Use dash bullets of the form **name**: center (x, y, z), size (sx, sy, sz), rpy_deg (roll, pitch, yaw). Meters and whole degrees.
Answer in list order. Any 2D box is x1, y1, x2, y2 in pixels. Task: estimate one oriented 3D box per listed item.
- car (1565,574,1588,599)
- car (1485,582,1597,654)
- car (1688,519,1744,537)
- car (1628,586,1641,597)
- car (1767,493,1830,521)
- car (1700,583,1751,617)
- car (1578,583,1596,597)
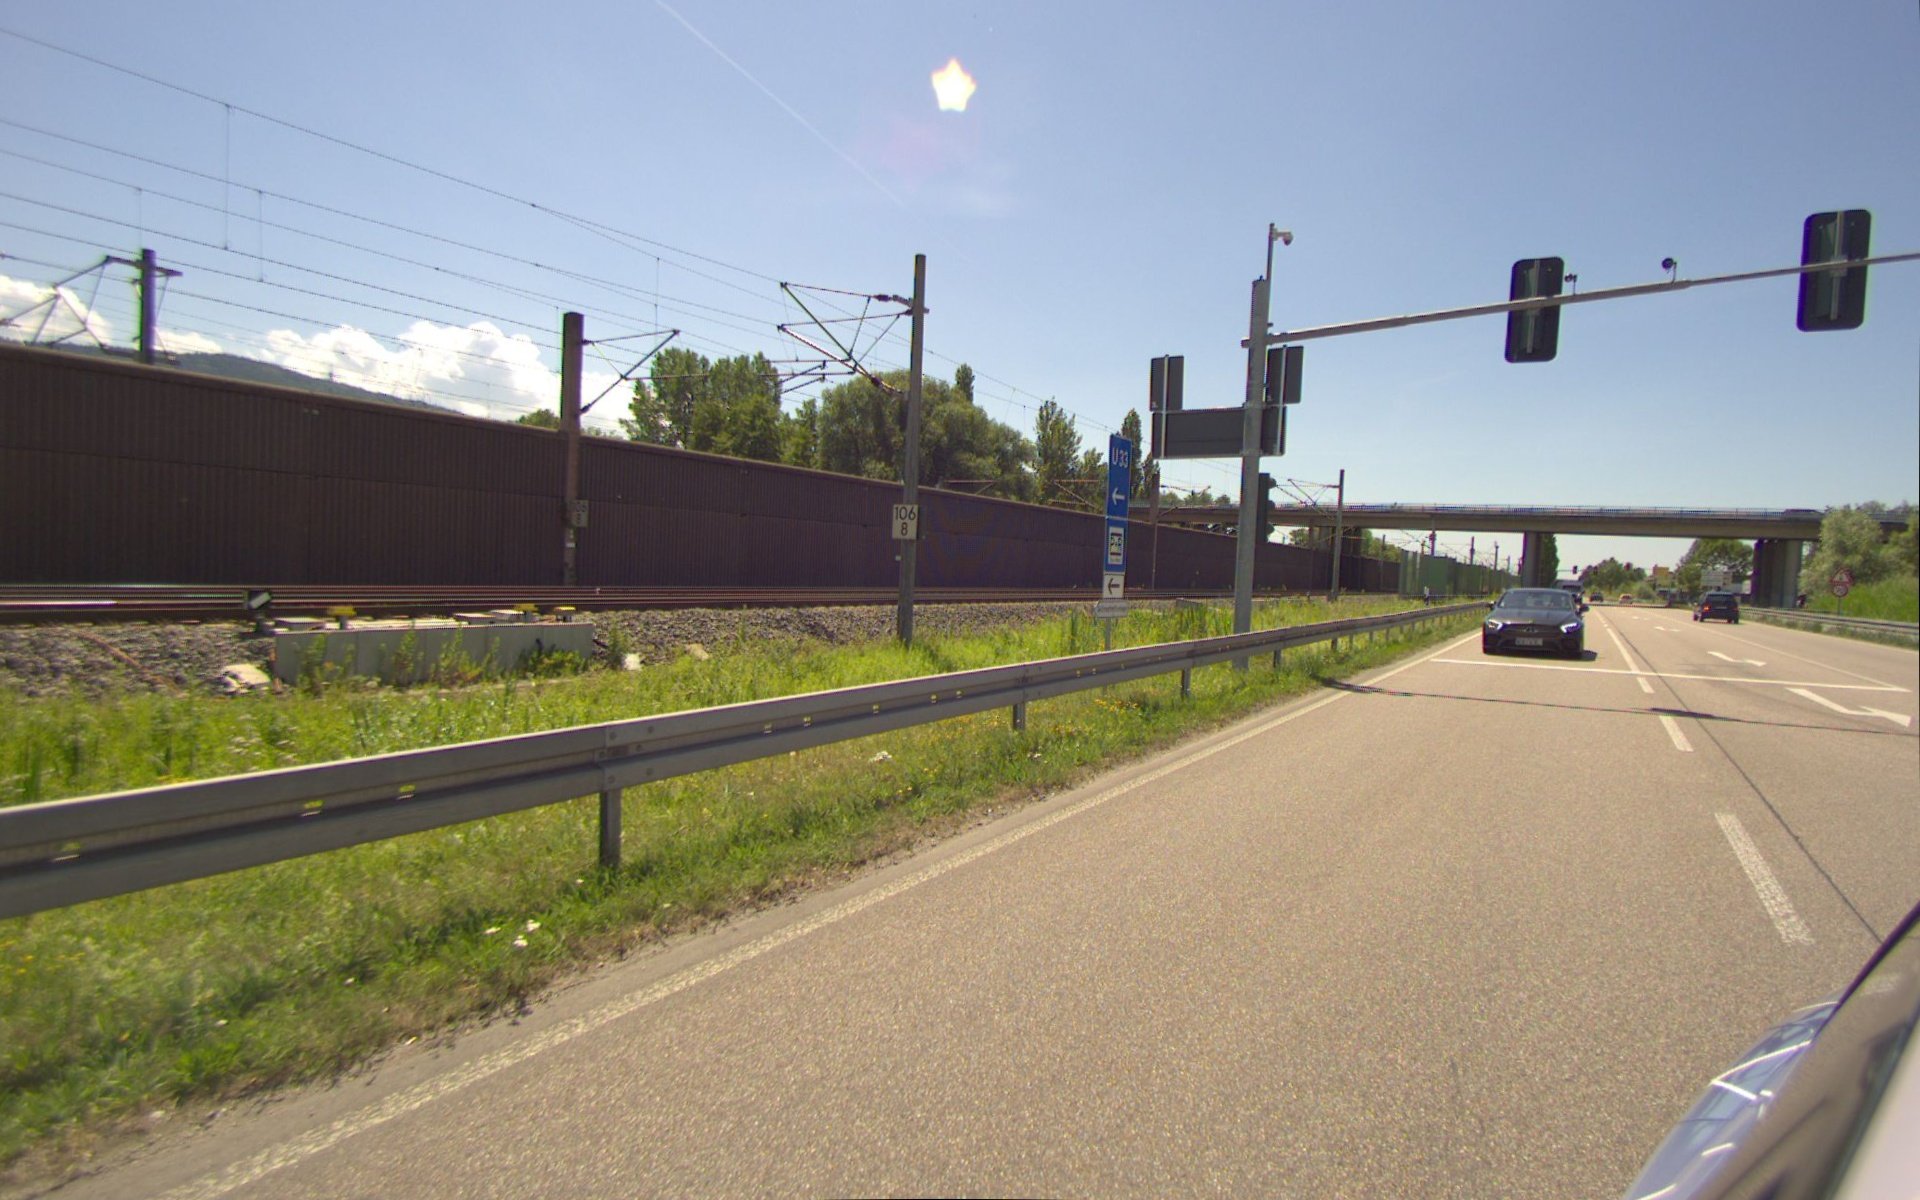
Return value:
- **car**: center (63.823, -1.392, 104.766), size (1.899, 2.472, 4.593), rpy_deg (2, 2, 33)
- **car**: center (13.016, 0.316, 22.527), size (1.899, 1.381, 4.593), rpy_deg (2, 2, 33)
- **car**: center (79.240, -7.538, 106.191), size (4.622, 1.812, 1.888), rpy_deg (2, 2, 37)
- **car**: center (100.798, -1.279, 151.244), size (1.579, 1.581, 3.644), rpy_deg (2, 2, 33)
- **car**: center (82.241, -9.094, 99.368), size (4.624, 2.472, 1.887), rpy_deg (2, 2, 38)
- **car**: center (39.834, -0.034, 52.732), size (1.630, 1.616, 3.524), rpy_deg (3, 2, 30)
- **car**: center (80.498, -1.327, 129.902), size (1.831, 1.711, 3.954), rpy_deg (3, 3, 33)
